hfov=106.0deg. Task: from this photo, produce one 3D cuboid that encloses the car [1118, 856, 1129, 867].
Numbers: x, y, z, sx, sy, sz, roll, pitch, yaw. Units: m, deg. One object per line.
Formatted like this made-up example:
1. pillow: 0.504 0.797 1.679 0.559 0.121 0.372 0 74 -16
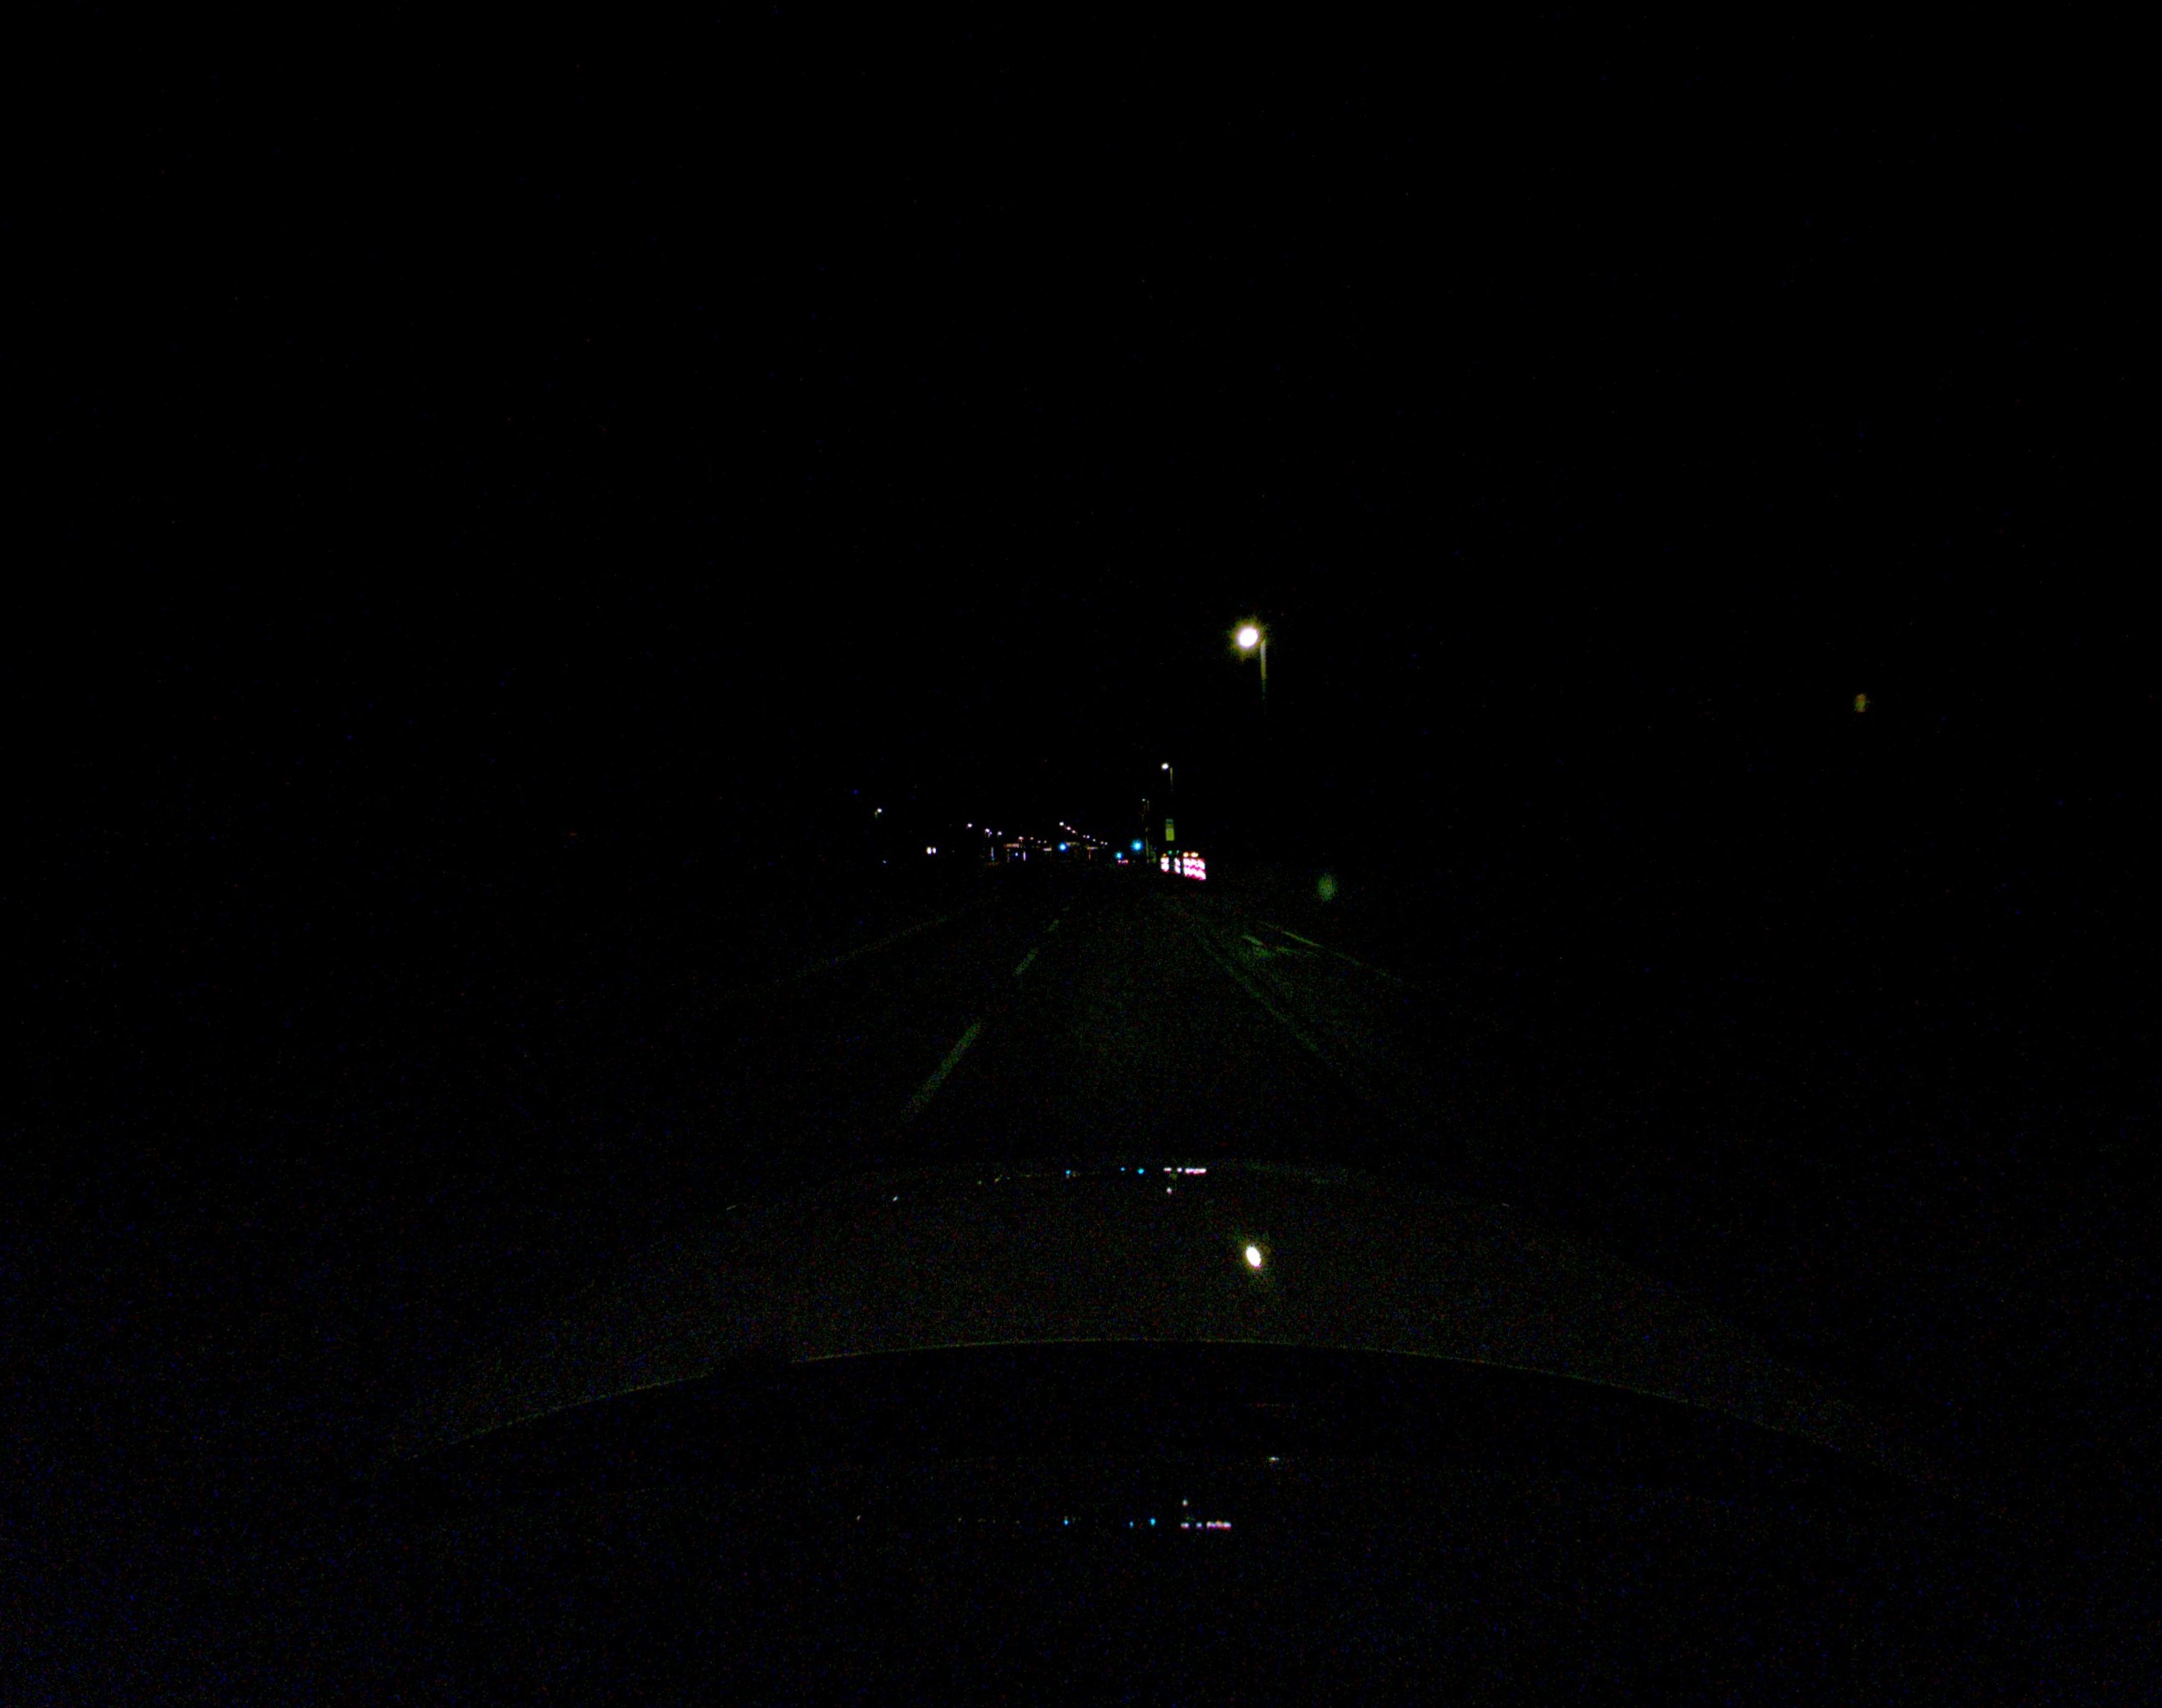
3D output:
1. car: 8.216 1.512 157.298 2.079 2.013 4.003 -2 0 3
